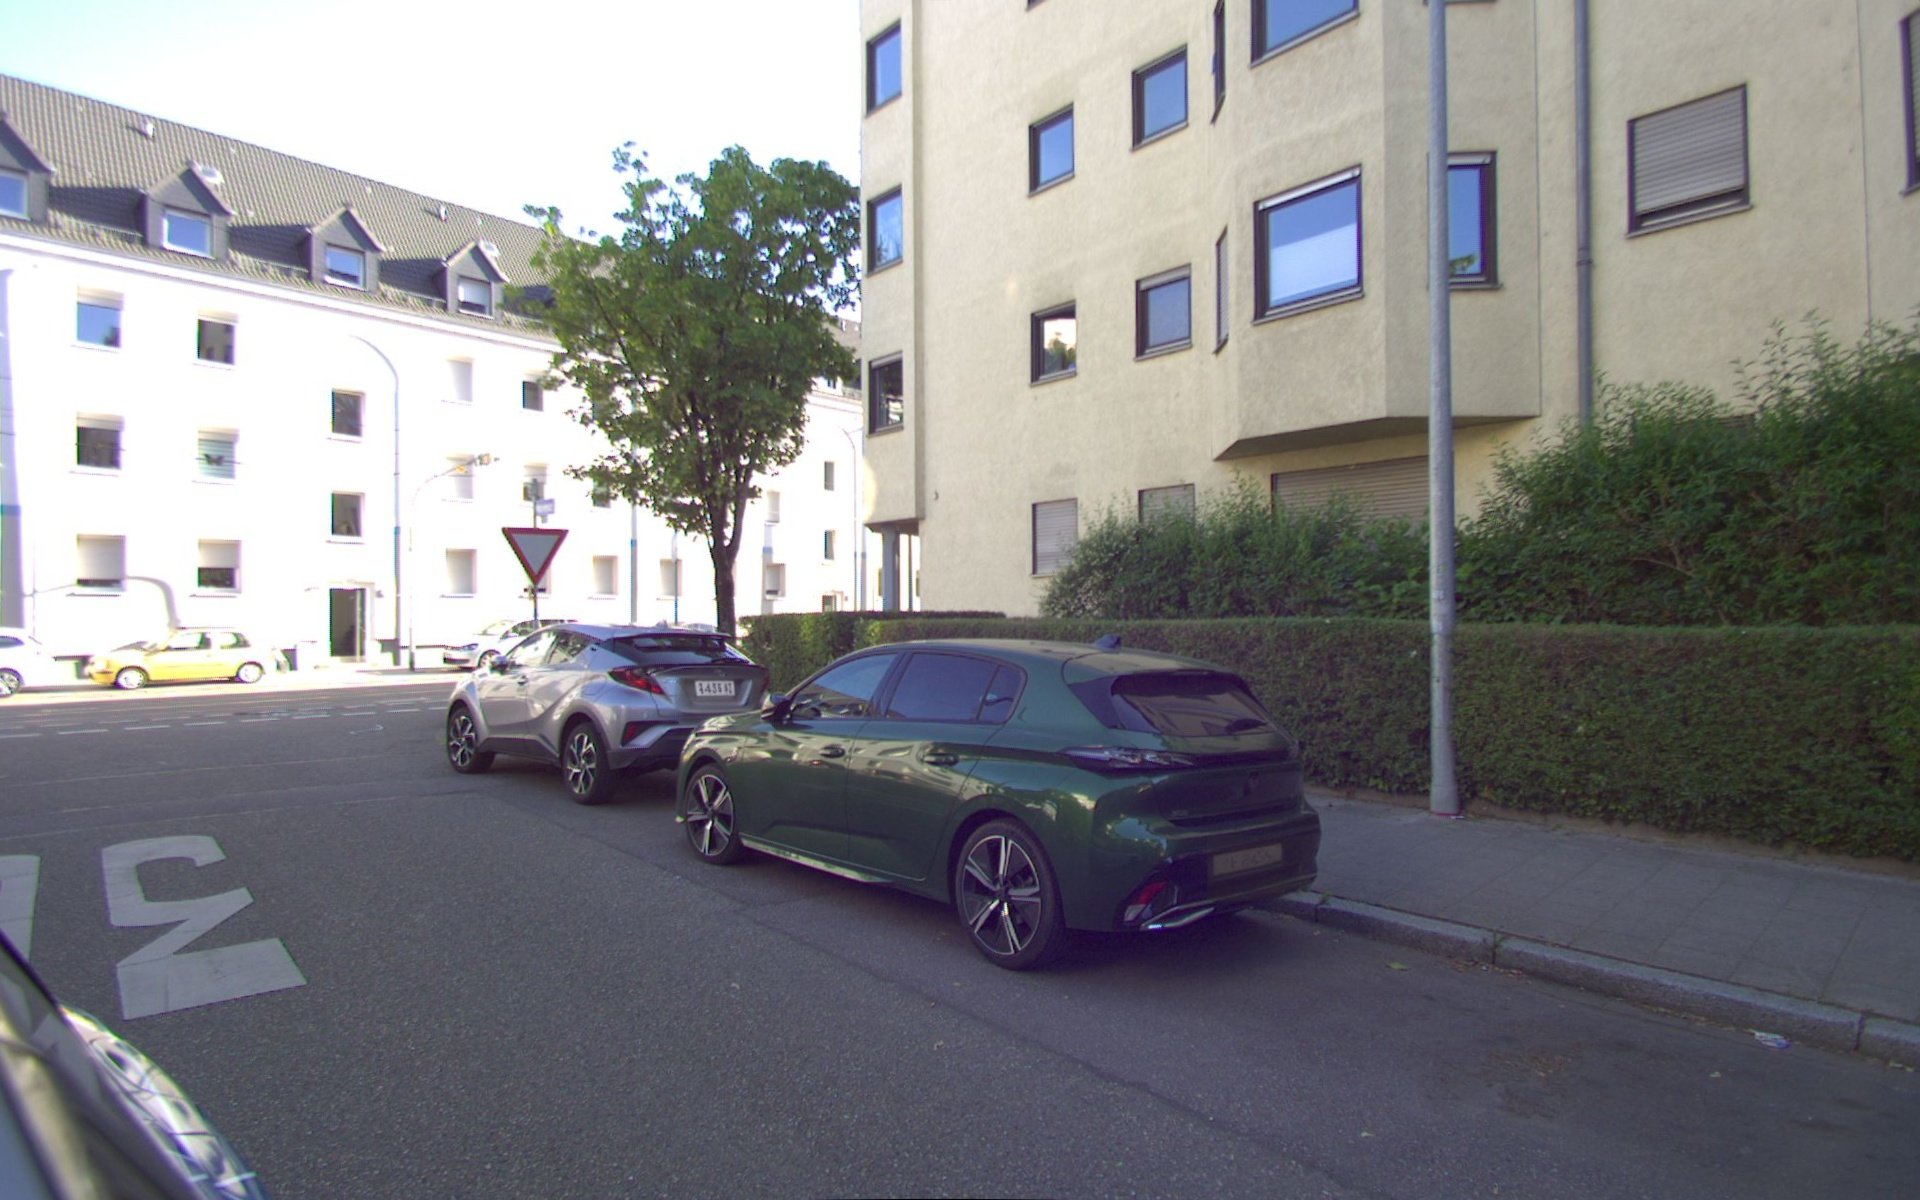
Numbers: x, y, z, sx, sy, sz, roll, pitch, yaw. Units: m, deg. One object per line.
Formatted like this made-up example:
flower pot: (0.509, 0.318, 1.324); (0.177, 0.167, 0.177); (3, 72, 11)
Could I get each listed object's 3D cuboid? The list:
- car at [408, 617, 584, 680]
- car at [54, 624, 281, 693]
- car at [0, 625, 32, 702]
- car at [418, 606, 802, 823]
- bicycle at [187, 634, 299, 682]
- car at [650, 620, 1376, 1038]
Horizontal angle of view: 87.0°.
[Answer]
car: (-13.979, 1.395, 30.719); (1.759, 1.678, 4.566); (2, 1, 39)
car: (-19.073, 1.349, 24.505); (1.518, 1.441, 4.144); (0, 0, 41)
car: (-22.167, 1.352, 20.781); (1.684, 1.583, 4.447); (0, 0, 41)
car: (-3.536, 0.947, 9.868); (4.001, 1.672, 1.882); (-1, -3, 43)
bicycle: (-19.486, 1.543, 27.530); (1.098, 1.206, 2.296); (-2, -2, 40)
car: (-0.025, 0.899, 5.812); (1.731, 1.508, 4.140); (3, -3, -42)
